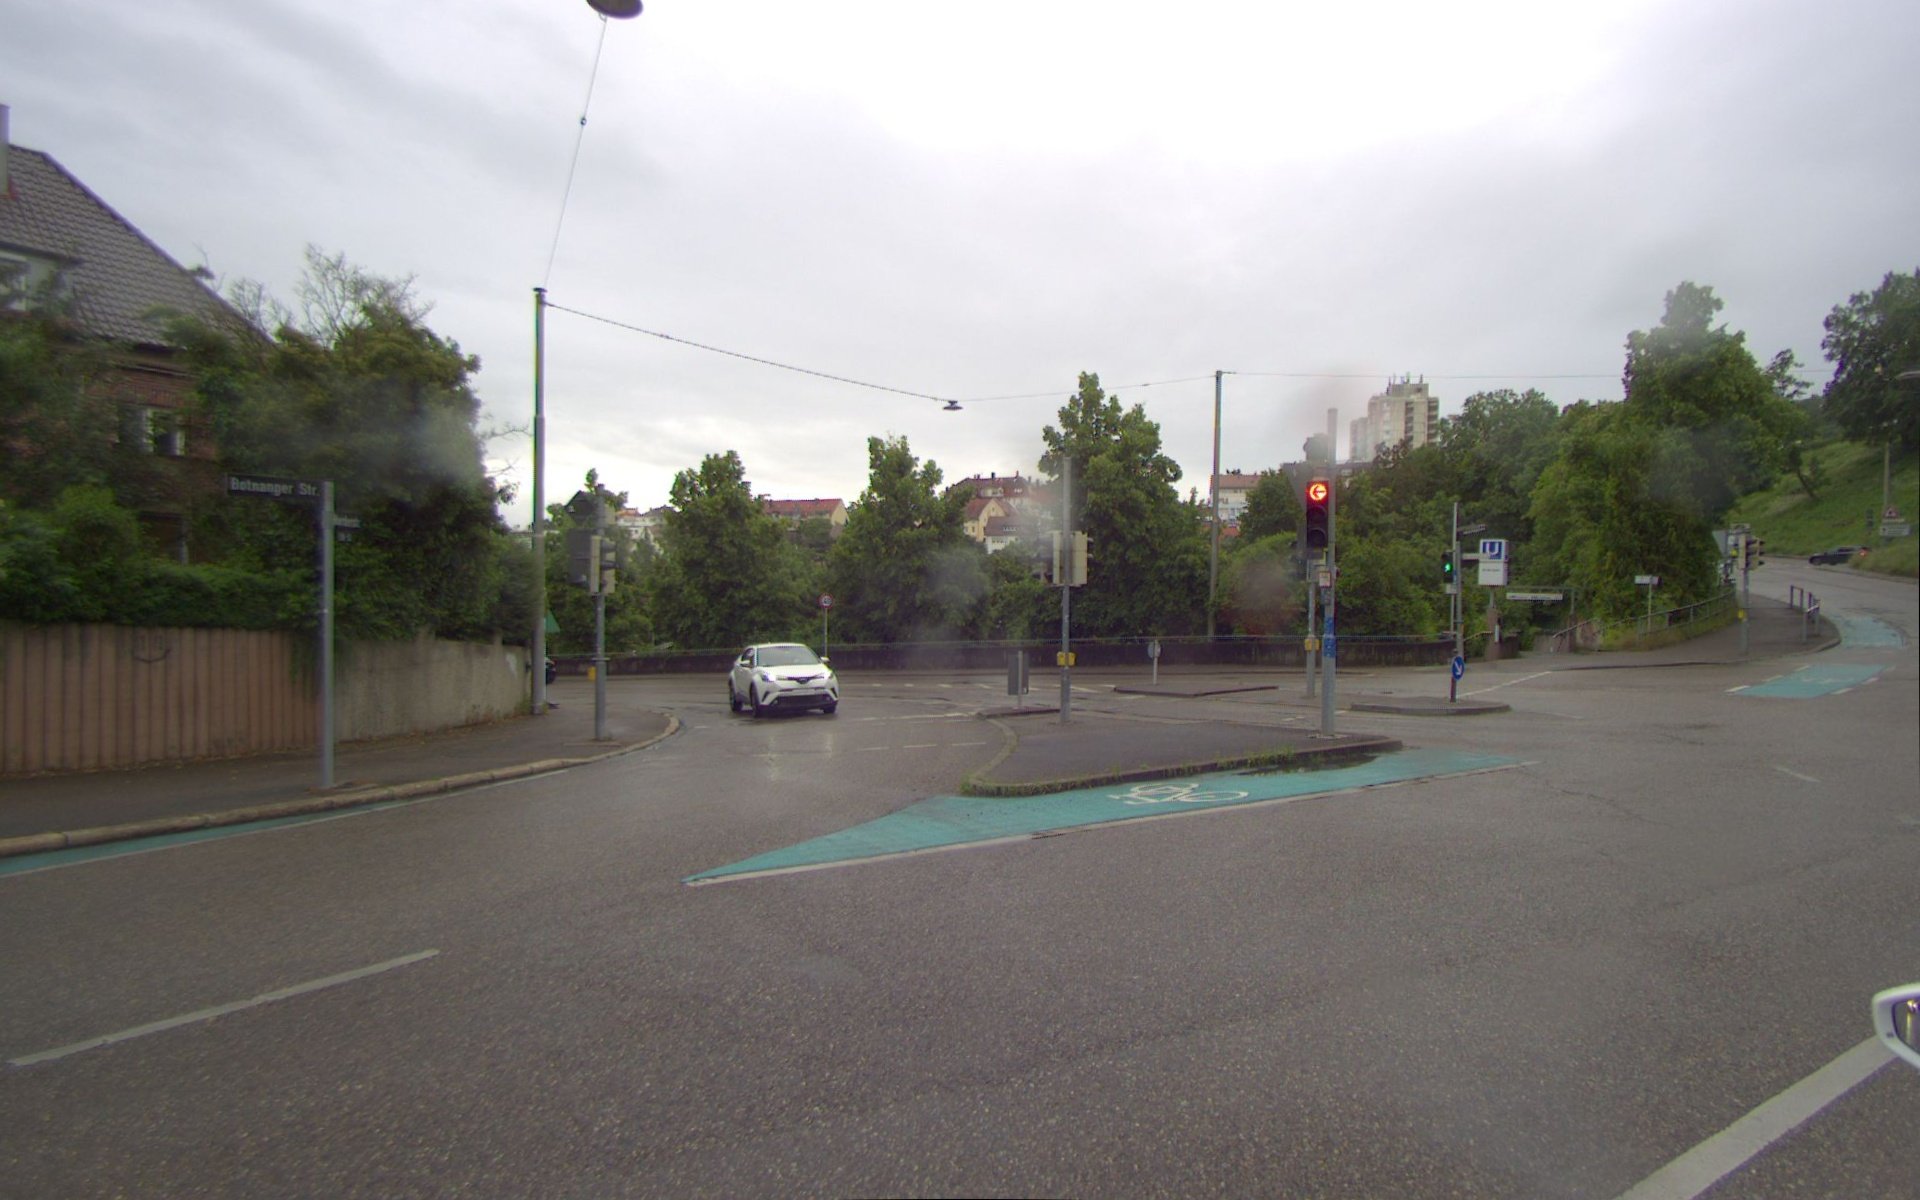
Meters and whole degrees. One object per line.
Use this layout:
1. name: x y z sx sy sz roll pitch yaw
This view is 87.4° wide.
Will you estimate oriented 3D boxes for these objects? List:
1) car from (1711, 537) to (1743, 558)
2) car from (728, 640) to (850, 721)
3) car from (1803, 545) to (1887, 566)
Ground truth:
1. car: 69.448 -4.753 91.028 1.891 1.805 3.989 2 2 32
2. car: -3.862 1.711 22.211 1.810 1.527 3.864 -2 -2 -23
3. car: 66.536 -3.350 75.613 1.931 1.532 4.387 -1 2 -17
